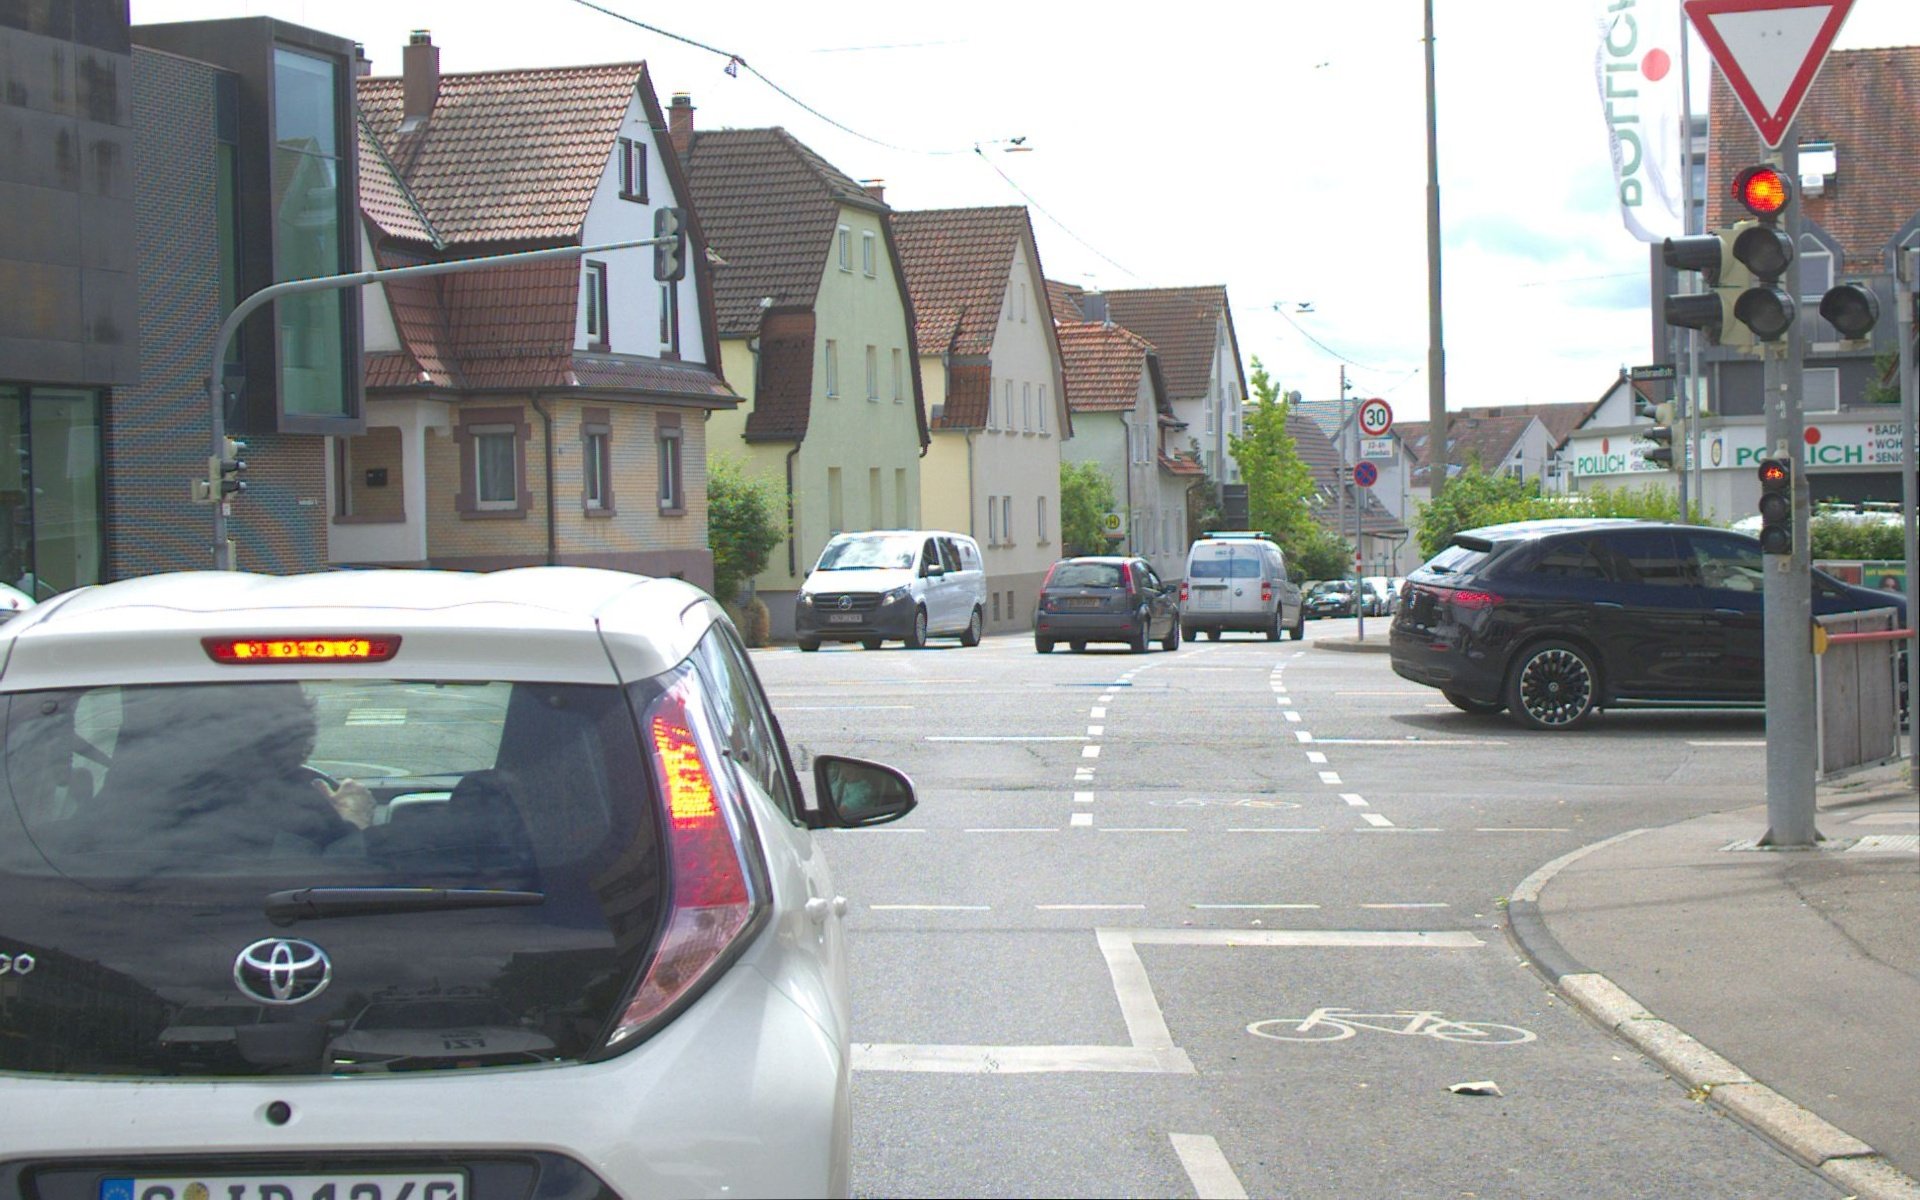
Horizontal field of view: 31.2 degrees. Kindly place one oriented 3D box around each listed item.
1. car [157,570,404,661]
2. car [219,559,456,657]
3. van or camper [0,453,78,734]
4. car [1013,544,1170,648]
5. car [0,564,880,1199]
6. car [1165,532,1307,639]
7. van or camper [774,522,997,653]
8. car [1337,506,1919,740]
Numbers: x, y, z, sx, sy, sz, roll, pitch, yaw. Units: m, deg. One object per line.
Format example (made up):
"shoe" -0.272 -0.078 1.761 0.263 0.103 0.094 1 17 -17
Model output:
"car" -11.198 0.241 56.749 3.616 1.414 1.691 1 1 11
"car" -10.640 0.122 58.871 3.616 1.600 1.691 1 1 11
"van or camper" -9.418 -0.028 26.046 5.116 2.070 2.001 -1 1 -9
"car" 2.032 -0.086 51.880 1.994 1.481 3.999 1 1 8
"car" -1.033 0.676 6.315 1.697 1.451 3.299 1 1 -2
"car" 5.018 -0.288 61.981 1.995 1.842 4.071 1 1 13
"van or camper" -1.088 -0.220 53.769 2.117 1.919 5.282 1 1 15
"car" 5.593 0.149 28.620 4.498 1.737 2.001 -1 3 -9
